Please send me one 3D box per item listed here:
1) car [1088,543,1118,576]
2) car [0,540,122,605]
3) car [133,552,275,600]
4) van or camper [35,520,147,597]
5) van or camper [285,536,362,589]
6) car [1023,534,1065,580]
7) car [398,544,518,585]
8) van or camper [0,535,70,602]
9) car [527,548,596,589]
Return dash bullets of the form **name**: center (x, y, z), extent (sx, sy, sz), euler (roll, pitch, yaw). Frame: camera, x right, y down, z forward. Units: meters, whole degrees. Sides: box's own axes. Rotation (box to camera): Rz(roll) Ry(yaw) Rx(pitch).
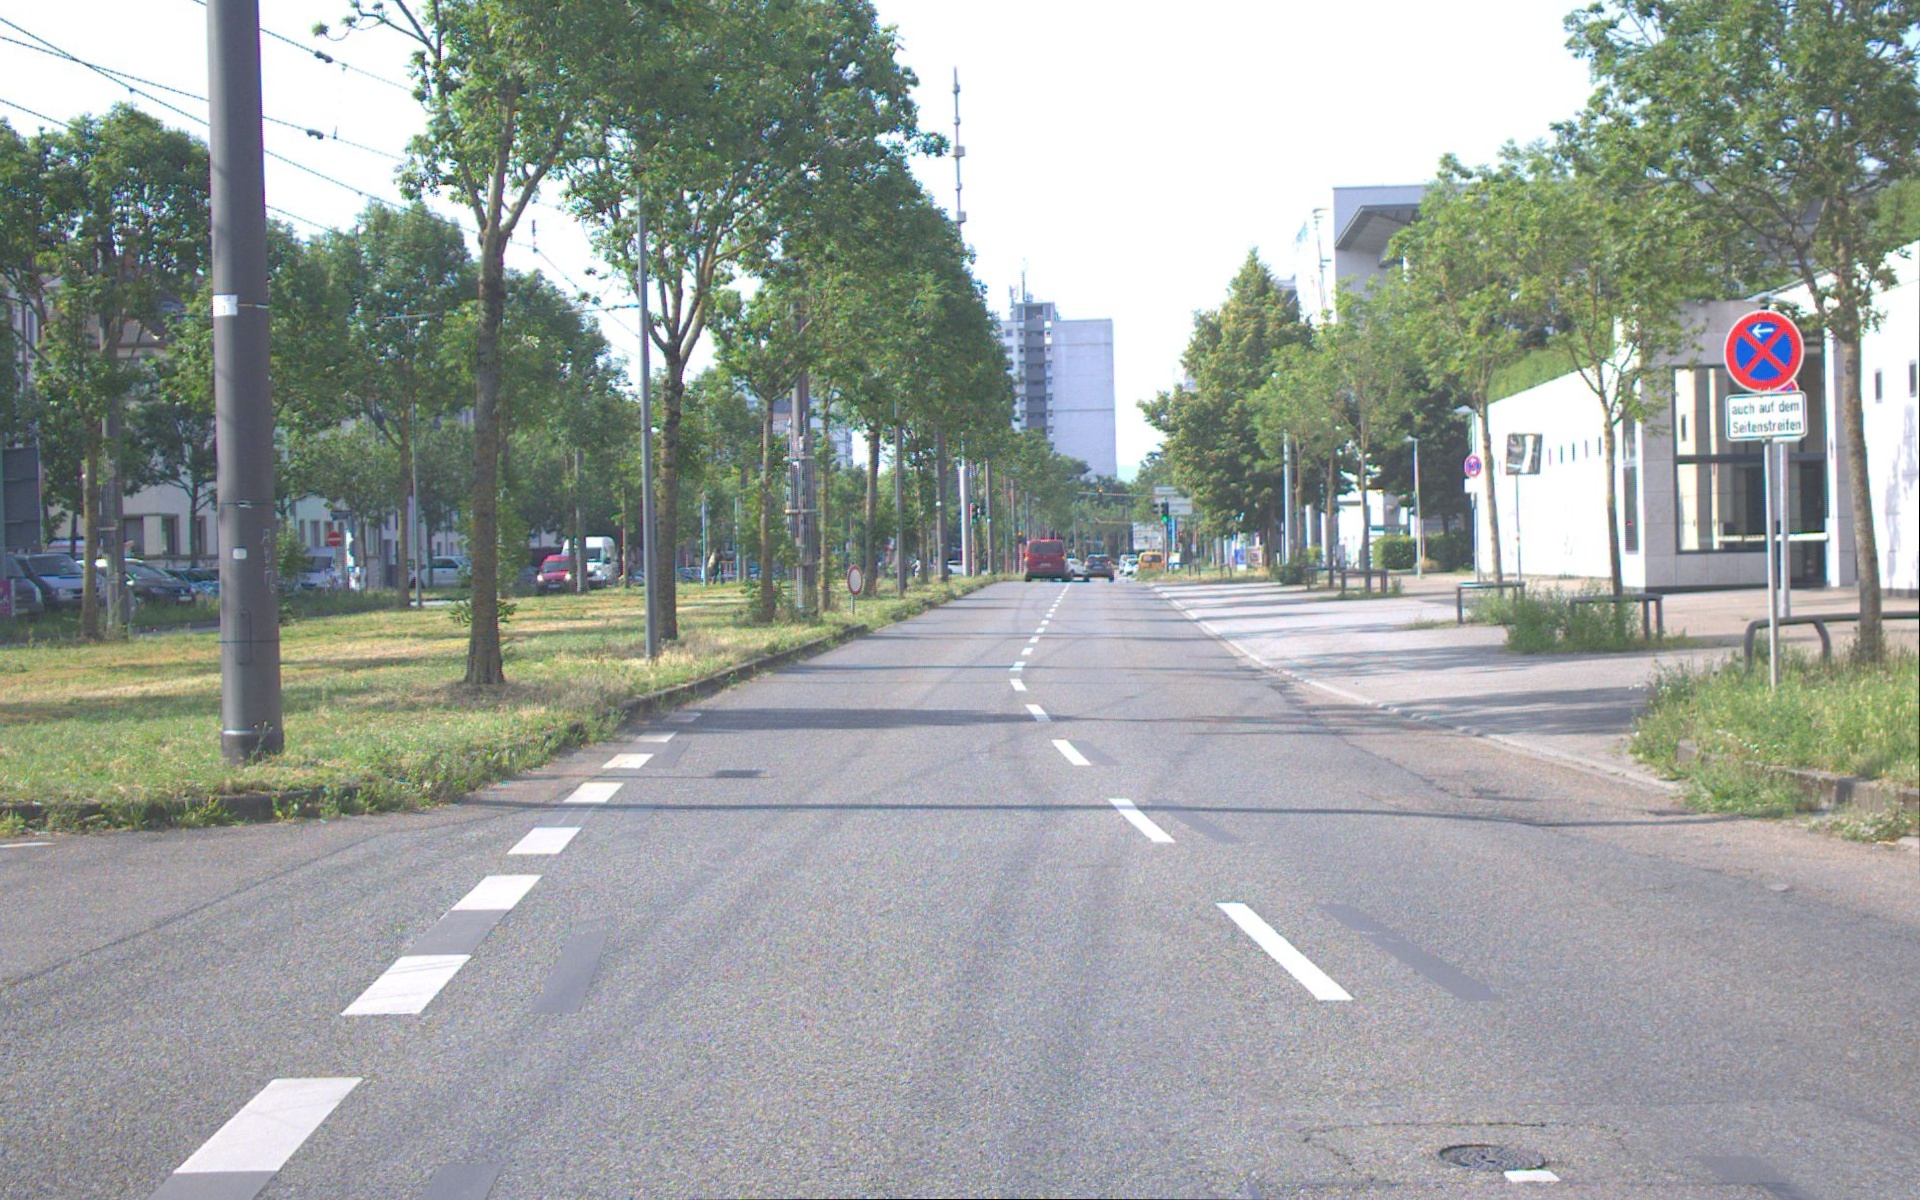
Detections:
- **car**: center (8.813, -2.494, 211.645), extent (1.748, 2.007, 3.215), euler (1, 1, 3)
- **car**: center (-24.220, -0.736, 88.654), extent (5.215, 1.618, 2.053), euler (1, 1, 33)
- **car**: center (-23.052, -0.741, 104.853), extent (3.991, 1.412, 1.575), euler (1, 1, 19)
- **van or camper**: center (-29.826, -1.427, 118.187), extent (2.039, 2.558, 6.356), euler (1, 1, 2)
- **van or camper**: center (-28.847, -1.708, 155.883), extent (1.994, 2.320, 5.827), euler (1, 1, 4)
- **car**: center (3.795, -1.930, 154.661), extent (1.748, 2.007, 3.215), euler (1, 1, 3)
- **car**: center (-22.000, -1.563, 150.523), extent (5.321, 1.732, 1.996), euler (1, 1, 36)
- **van or camper**: center (-24.695, -0.817, 86.095), extent (4.844, 1.618, 1.999), euler (1, 1, 35)
- **car**: center (-16.781, -1.333, 144.829), extent (1.965, 1.688, 4.296), euler (1, 1, 6)
